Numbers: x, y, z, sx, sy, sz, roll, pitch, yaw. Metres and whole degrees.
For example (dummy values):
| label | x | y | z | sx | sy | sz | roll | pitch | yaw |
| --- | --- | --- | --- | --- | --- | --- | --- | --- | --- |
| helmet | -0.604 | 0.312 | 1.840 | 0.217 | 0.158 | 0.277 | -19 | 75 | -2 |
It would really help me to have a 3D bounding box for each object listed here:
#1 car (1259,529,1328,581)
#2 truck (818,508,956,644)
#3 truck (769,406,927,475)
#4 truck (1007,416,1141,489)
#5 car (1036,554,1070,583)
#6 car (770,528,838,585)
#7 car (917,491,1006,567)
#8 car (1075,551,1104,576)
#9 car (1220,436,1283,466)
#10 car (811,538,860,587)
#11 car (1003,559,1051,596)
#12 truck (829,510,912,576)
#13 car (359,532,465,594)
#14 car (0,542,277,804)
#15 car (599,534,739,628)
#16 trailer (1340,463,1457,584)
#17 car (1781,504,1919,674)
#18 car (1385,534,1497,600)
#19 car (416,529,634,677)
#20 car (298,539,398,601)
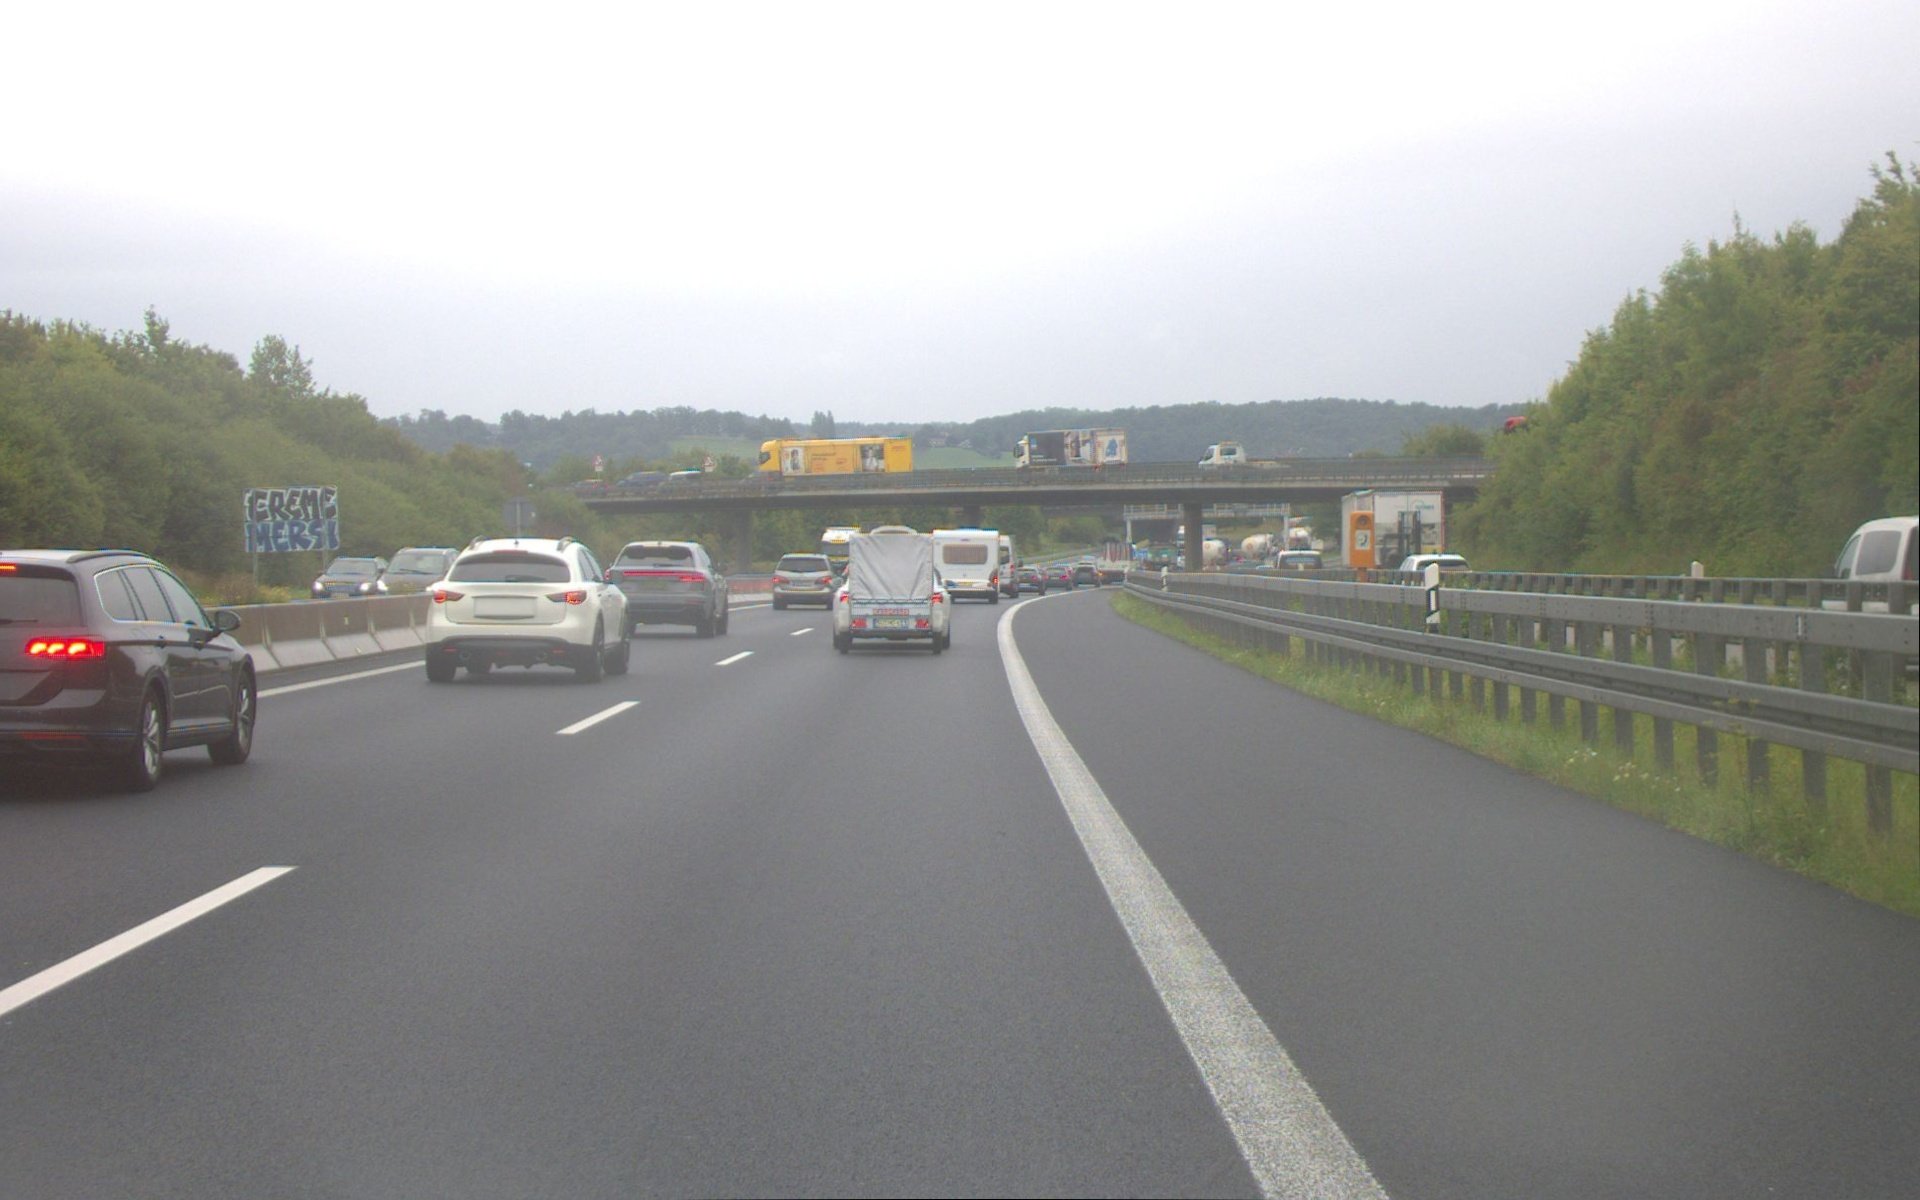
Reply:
| label | x | y | z | sx | sy | sz | roll | pitch | yaw |
| --- | --- | --- | --- | --- | --- | --- | --- | --- | --- |
| car | 11.898 | -1.618 | 122.818 | 1.859 | 1.799 | 4.648 | 0 | 1 | -2 |
| truck | -1.099 | -0.431 | 53.916 | 2.019 | 1.978 | 7.213 | 0 | 1 | -1 |
| truck | -8.677 | -12.114 | 262.909 | 3.767 | 4.819 | 15.241 | -1 | 1 | -38 |
| truck | 7.917 | -10.253 | 240.416 | 3.767 | 4.819 | 10.041 | -1 | 1 | -38 |
| car | 5.739 | -1.976 | 211.828 | 1.993 | 1.744 | 4.000 | 1 | 1 | 0 |
| car | -4.463 | -1.267 | 98.684 | 1.900 | 1.607 | 4.017 | 0 | 1 | -2 |
| car | 0.102 | -2.510 | 121.274 | 3.017 | 2.607 | 6.075 | 0 | 1 | 1 |
| car | 9.021 | -2.544 | 239.946 | 1.993 | 1.744 | 4.000 | 1 | 1 | 1 |
| car | 19.054 | -9.733 | 224.771 | 1.838 | 1.908 | 3.999 | 0 | 1 | -39 |
| car | -4.783 | -1.454 | 131.866 | 1.841 | 1.813 | 4.001 | 0 | 1 | -2 |
| car | 3.282 | -1.098 | 168.253 | 1.993 | 1.744 | 4.001 | 1 | 1 | -4 |
| truck | -4.876 | -3.170 | 190.884 | 3.766 | 3.542 | 13.186 | 0 | 1 | 2 |
| car | -13.885 | -0.959 | 87.408 | 1.982 | 1.501 | 4.638 | 0 | 1 | 0 |
| car | -5.758 | 0.394 | 21.951 | 1.900 | 1.492 | 4.852 | 0 | 1 | -1 |
| car | -5.190 | -0.370 | 61.857 | 2.174 | 1.626 | 4.501 | 0 | 1 | -1 |
| trailer | 16.163 | -2.835 | 127.466 | 3.437 | 4.274 | 10.454 | 0 | 1 | 2 |
| car | 10.821 | -0.155 | 38.582 | 2.007 | 1.808 | 4.277 | 0 | 1 | -3 |
| car | 11.568 | -0.814 | 83.018 | 2.008 | 1.543 | 4.696 | 0 | 1 | 0 |
| car | -5.005 | -0.006 | 40.150 | 1.976 | 1.633 | 4.501 | 0 | 1 | 0 |
| car | -17.009 | -0.858 | 95.740 | 1.982 | 1.609 | 4.422 | 1 | 1 | 0 |
